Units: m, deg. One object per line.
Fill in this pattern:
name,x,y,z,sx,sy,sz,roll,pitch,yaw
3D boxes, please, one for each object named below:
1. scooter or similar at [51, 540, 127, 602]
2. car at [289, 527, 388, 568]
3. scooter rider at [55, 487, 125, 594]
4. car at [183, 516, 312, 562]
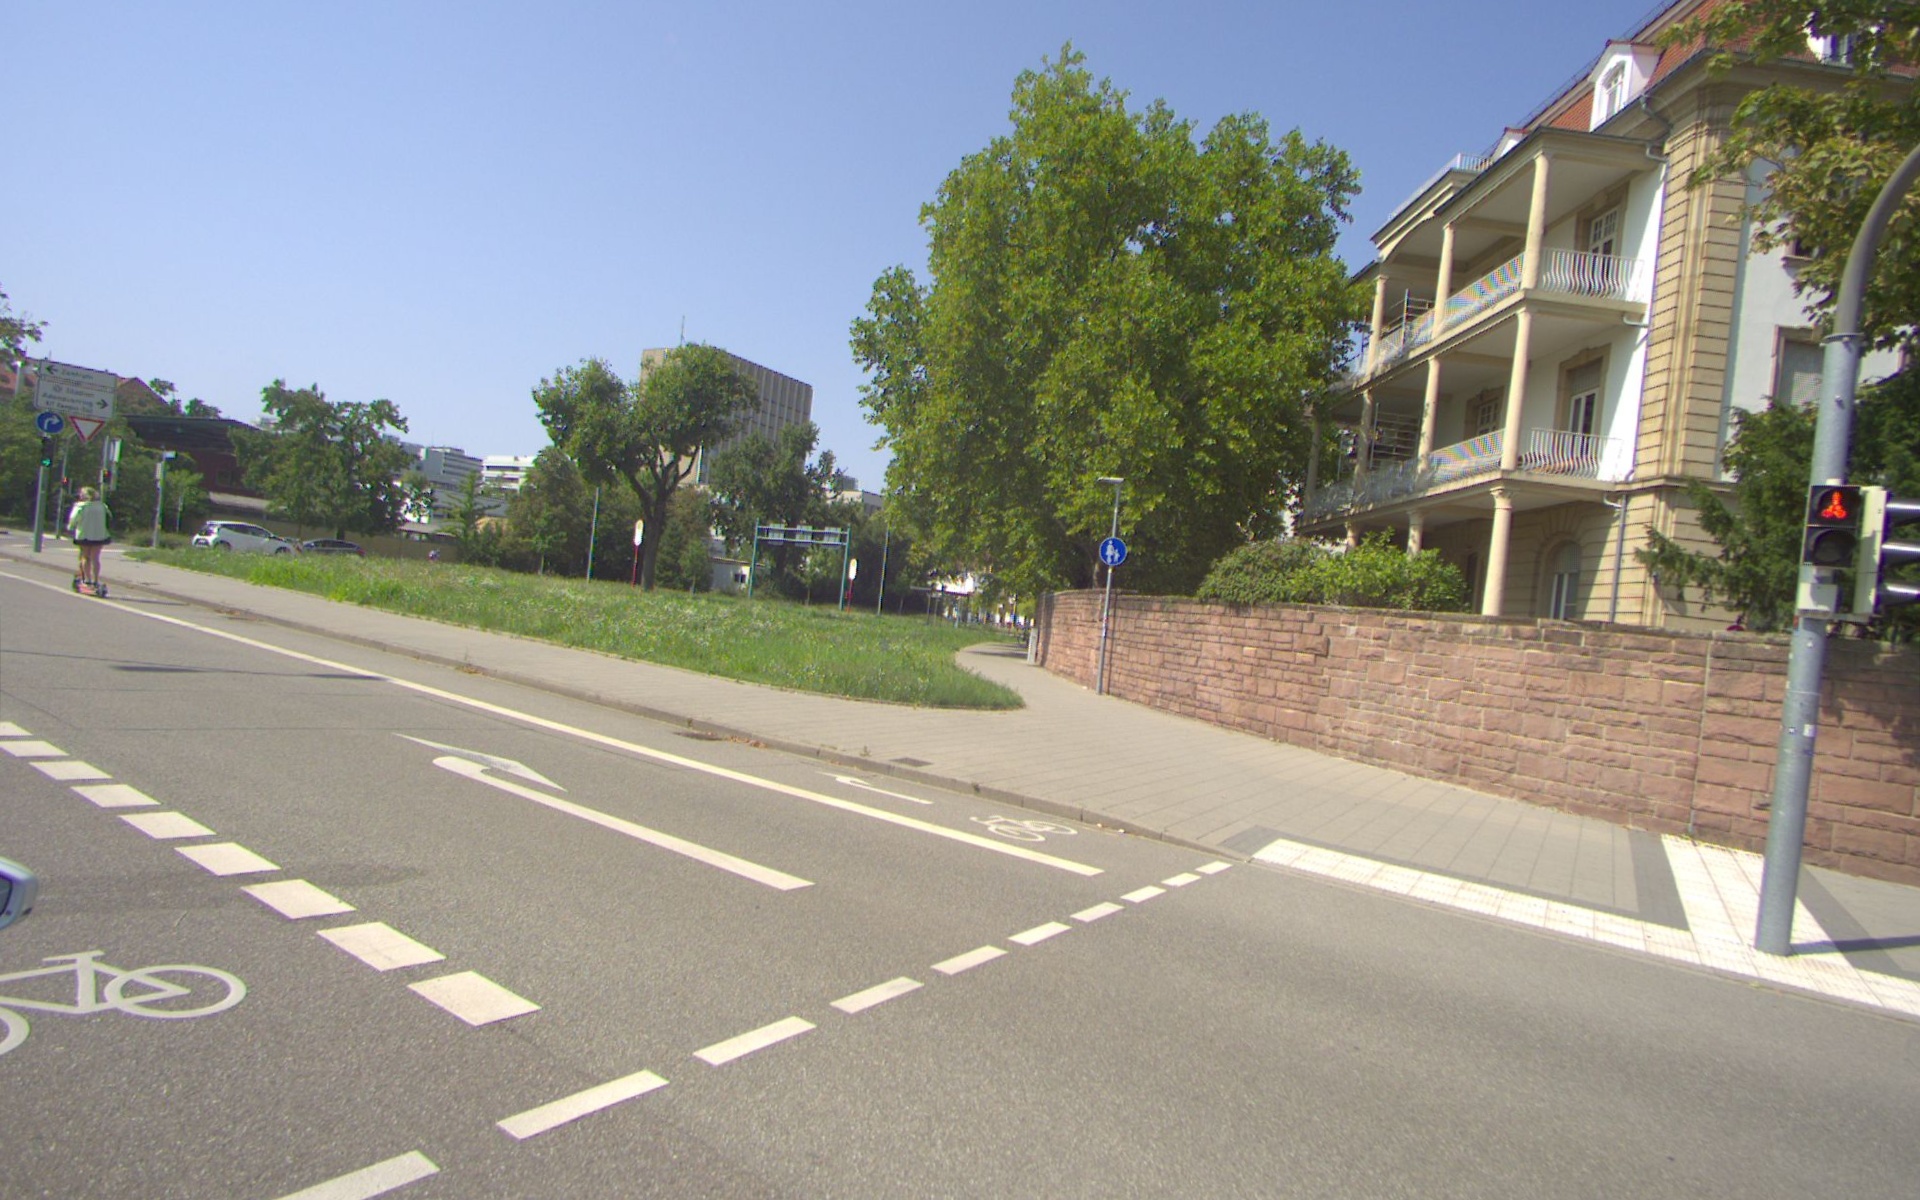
scooter or similar,-15.565,-0.524,17.966,1.598,0.938,0.771,6,-1,42
car,-32.889,-2.772,53.301,1.795,1.584,3.988,7,0,35
scooter rider,-15.556,-1.056,17.995,0.547,1.797,0.761,7,1,41
car,-30.235,-2.564,42.812,1.817,1.408,3.994,6,0,29
